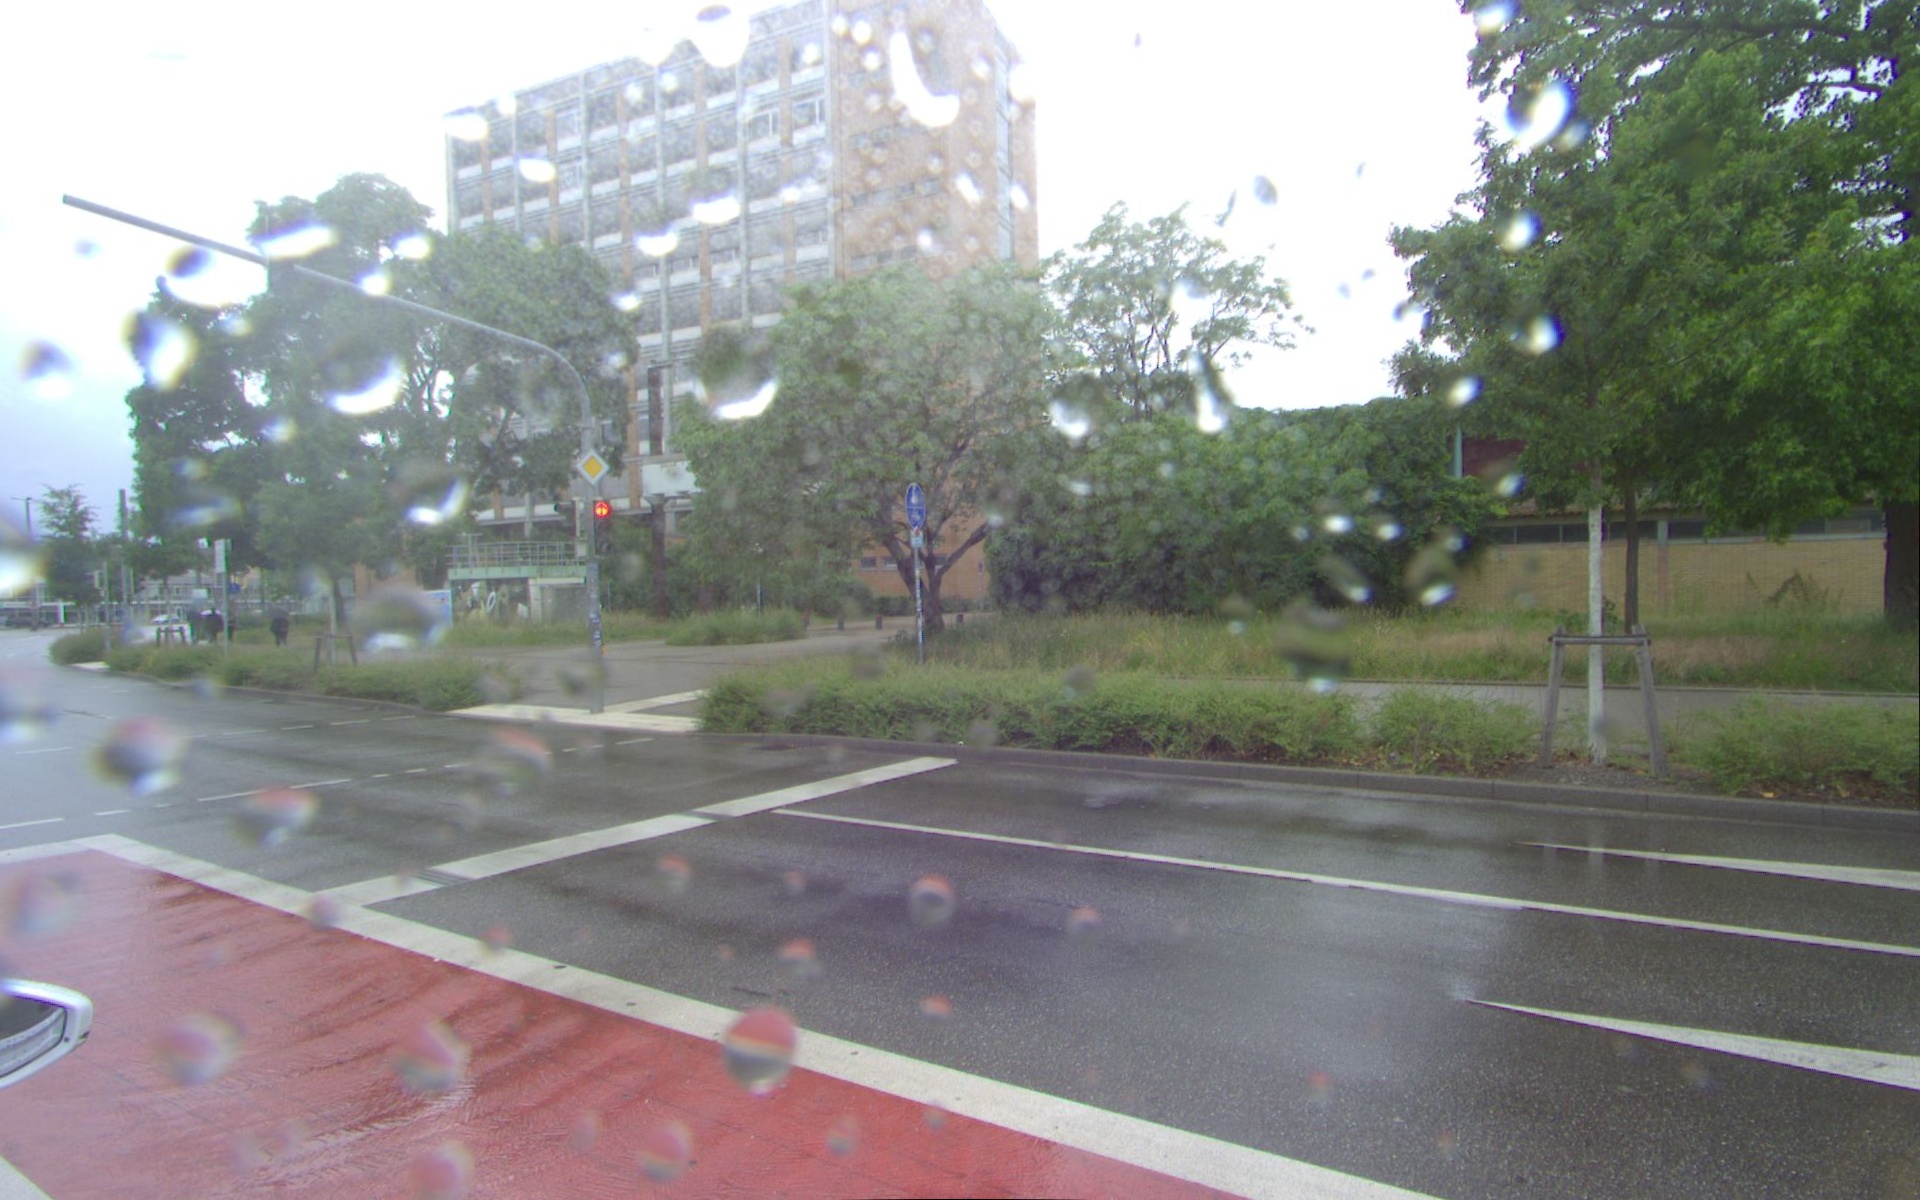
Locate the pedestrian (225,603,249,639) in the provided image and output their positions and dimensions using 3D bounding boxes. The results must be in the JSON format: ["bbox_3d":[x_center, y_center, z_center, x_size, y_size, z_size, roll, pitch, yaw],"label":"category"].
[{"bbox_3d":[-33.186,0.947,45.954,0.926,1.609,0.699,0,1,43],"label":"pedestrian"}]

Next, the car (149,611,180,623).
[{"bbox_3d":[-114.361,2.454,144.023,1.762,1.665,4.155,-1,0,-10],"label":"car"}]

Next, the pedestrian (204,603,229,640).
[{"bbox_3d":[-33.686,0.962,45.358,0.926,1.609,0.699,0,1,43],"label":"pedestrian"}]

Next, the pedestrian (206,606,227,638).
[{"bbox_3d":[-37.607,1.115,50.628,0.927,1.609,0.698,0,1,44],"label":"pedestrian"}]

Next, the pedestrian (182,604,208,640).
[{"bbox_3d":[-34.445,0.978,45.087,0.926,1.609,0.749,0,1,43],"label":"pedestrian"}]

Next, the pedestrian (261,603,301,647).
[{"bbox_3d":[-25.474,0.912,37.571,0.926,1.609,1.017,0,1,42],"label":"pedestrian"}]
